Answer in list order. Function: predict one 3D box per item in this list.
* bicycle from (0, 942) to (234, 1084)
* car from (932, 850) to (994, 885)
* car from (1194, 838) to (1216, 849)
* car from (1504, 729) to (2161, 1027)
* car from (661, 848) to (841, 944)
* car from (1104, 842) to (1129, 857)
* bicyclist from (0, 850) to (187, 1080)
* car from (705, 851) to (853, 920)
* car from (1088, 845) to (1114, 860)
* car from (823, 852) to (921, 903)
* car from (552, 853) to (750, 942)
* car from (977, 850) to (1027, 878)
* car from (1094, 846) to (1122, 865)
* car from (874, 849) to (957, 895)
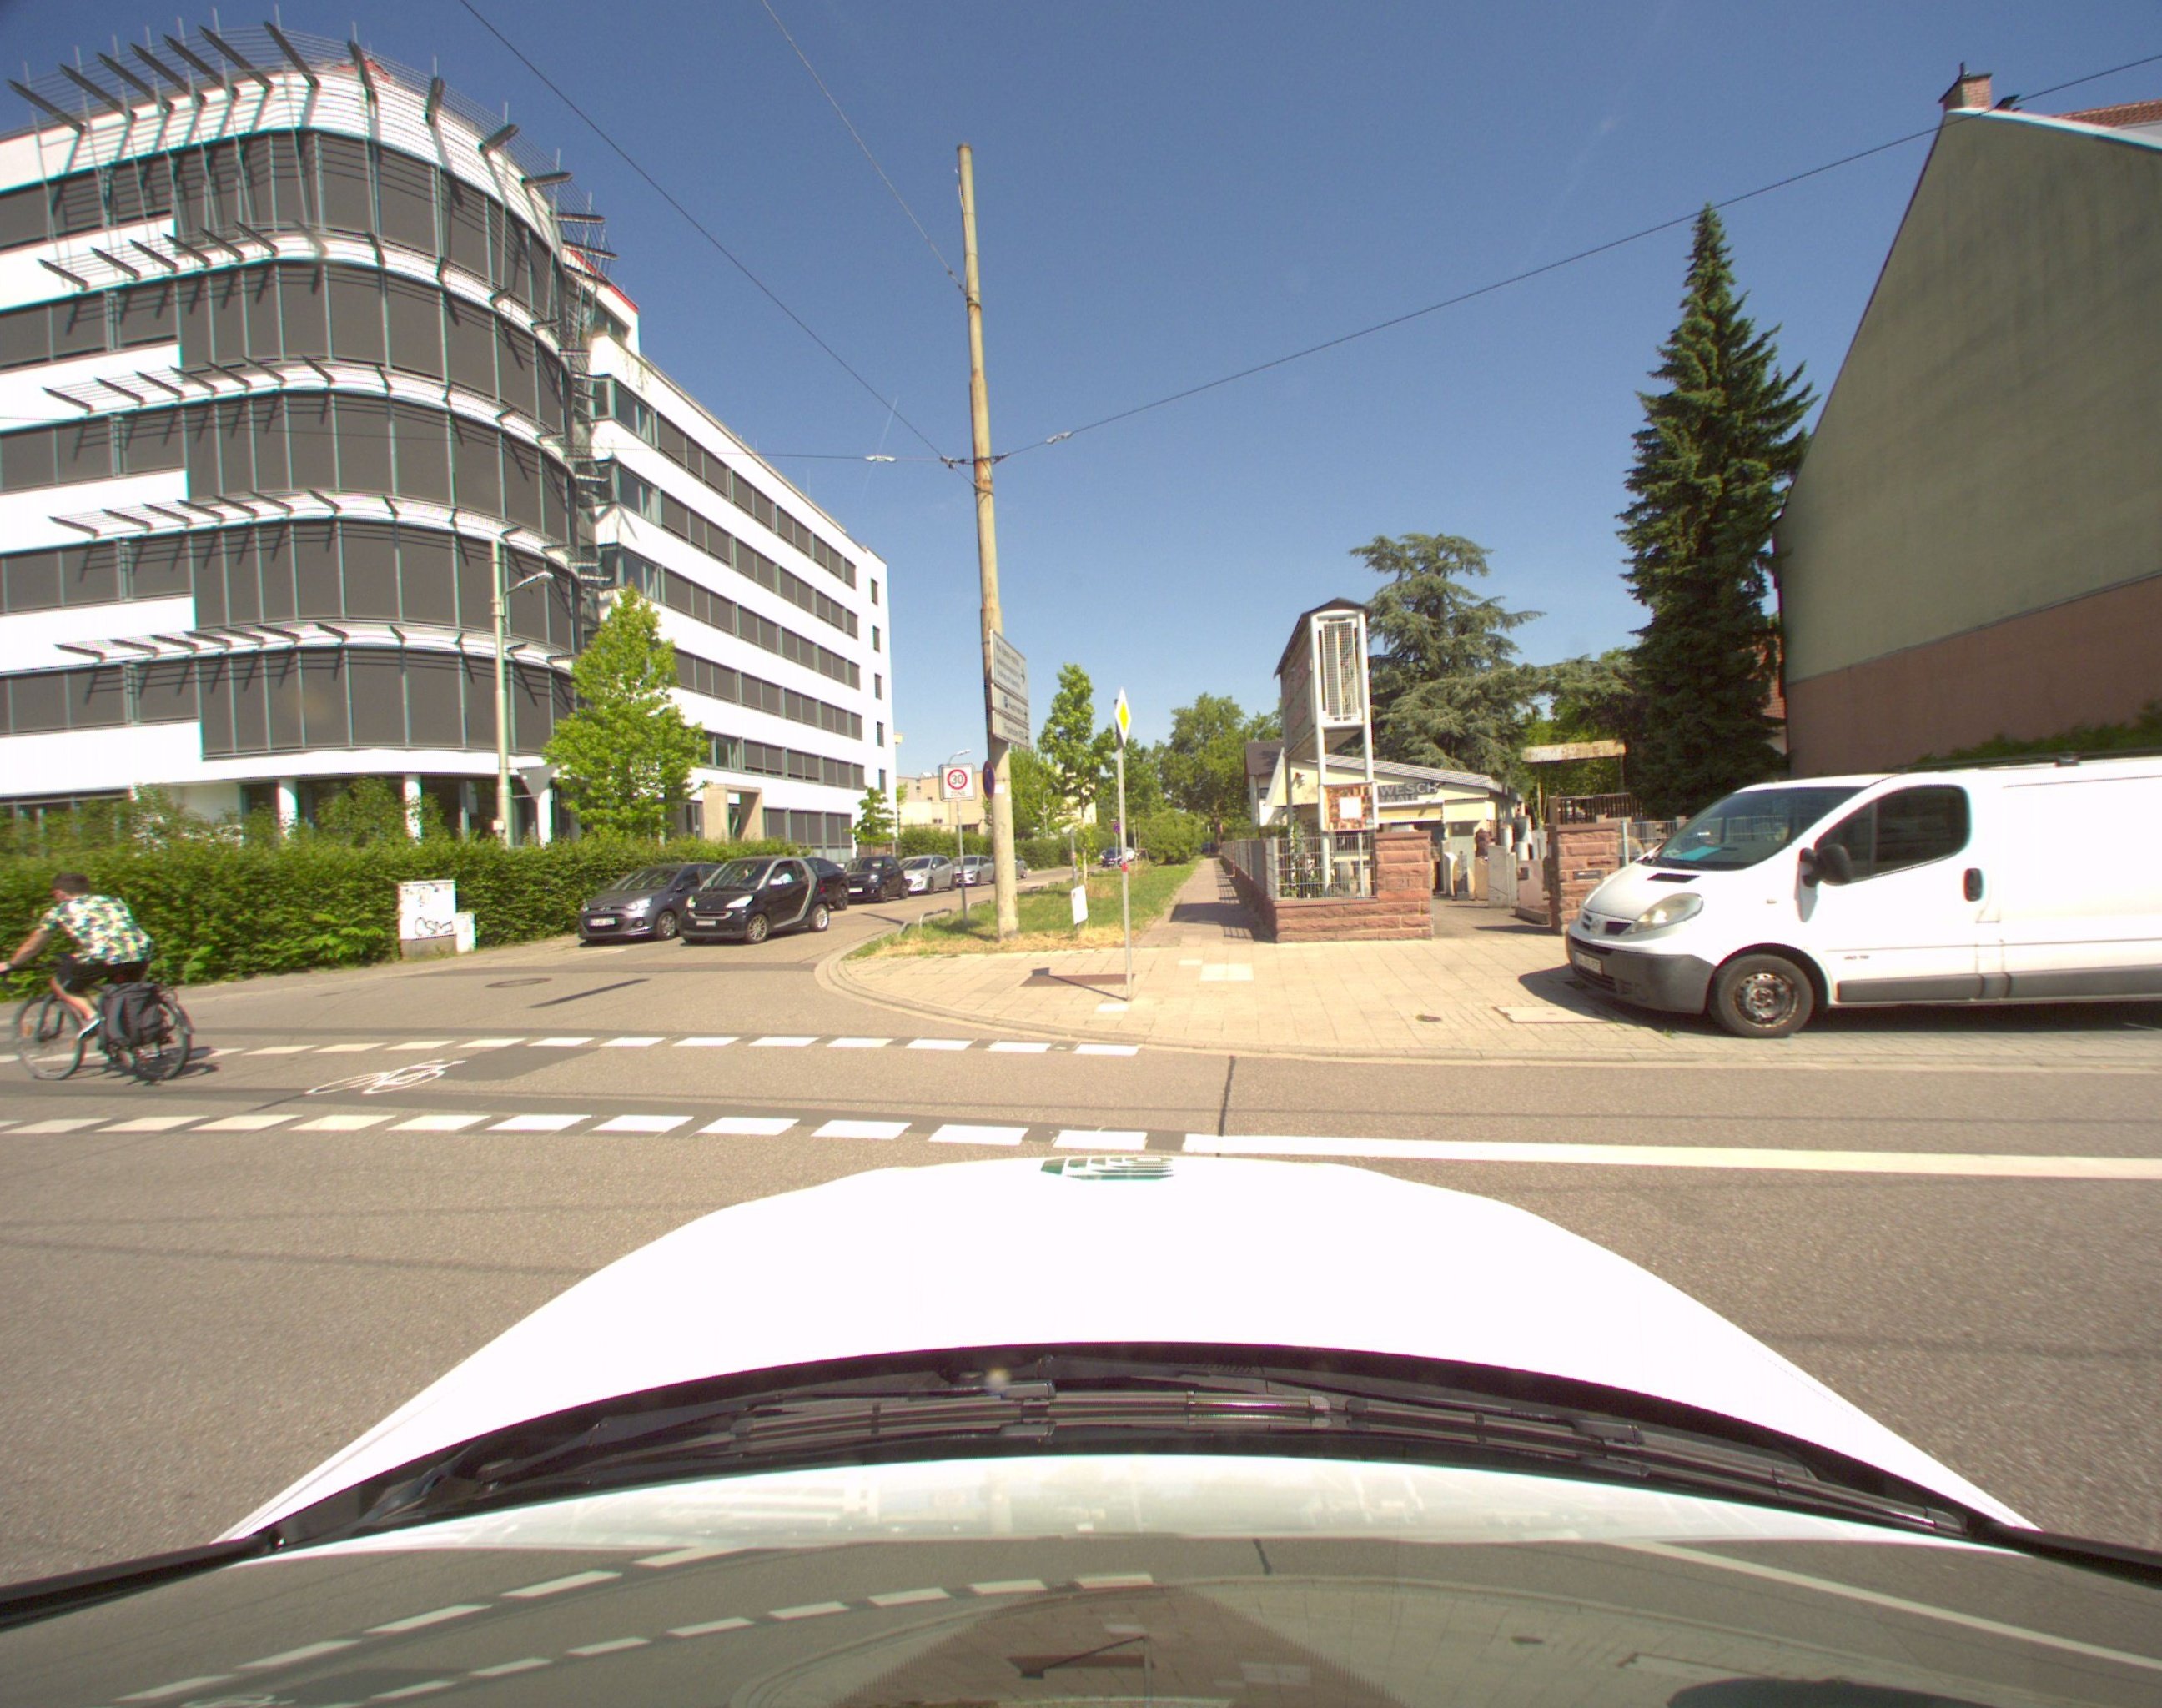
[{"bbox_3d":[-8.078,1.264,6.572,2.143,0.984,0.612,-3,0,11],"label":"bicycle"},{"bbox_3d":[-5.316,0.573,37.208,1.799,1.403,3.836,-3,0,7],"label":"car"},{"bbox_3d":[17.764,-1.535,116.754,1.911,1.449,3.851,-2,0,26],"label":"car"},{"bbox_3d":[6.525,0.170,6.803,4.862,2.013,2.097,-3,1,10],"label":"car"},{"bbox_3d":[-6.131,0.734,15.463,1.462,1.538,2.992,-3,1,20],"label":"car"},{"bbox_3d":[3.996,-0.530,90.463,1.915,1.449,3.844,-3,0,15],"label":"car"},{"bbox_3d":[-8.081,0.851,6.561,0.978,1.724,0.721,-3,0,11],"label":"bicyclist"},{"bbox_3d":[-7.657,0.733,21.140,1.799,1.518,4.178,-3,0,7],"label":"car"},{"bbox_3d":[2.062,-0.196,83.722,1.917,1.449,3.840,-3,0,11],"label":"car"},{"bbox_3d":[-6.818,0.717,26.959,1.768,1.444,3.858,-3,0,7],"label":"car"},{"bbox_3d":[-8.611,0.794,16.693,1.690,1.527,3.704,-2,0,7],"label":"car"},{"bbox_3d":[-4.190,0.518,43.741,1.799,1.322,3.836,-3,0,7],"label":"car"},{"bbox_3d":[2.319,0.106,68.061,1.919,1.449,3.836,-3,0,7],"label":"car"},{"bbox_3d":[-6.250,0.632,31.178,1.799,1.505,4.053,-3,1,7],"label":"car"}]
